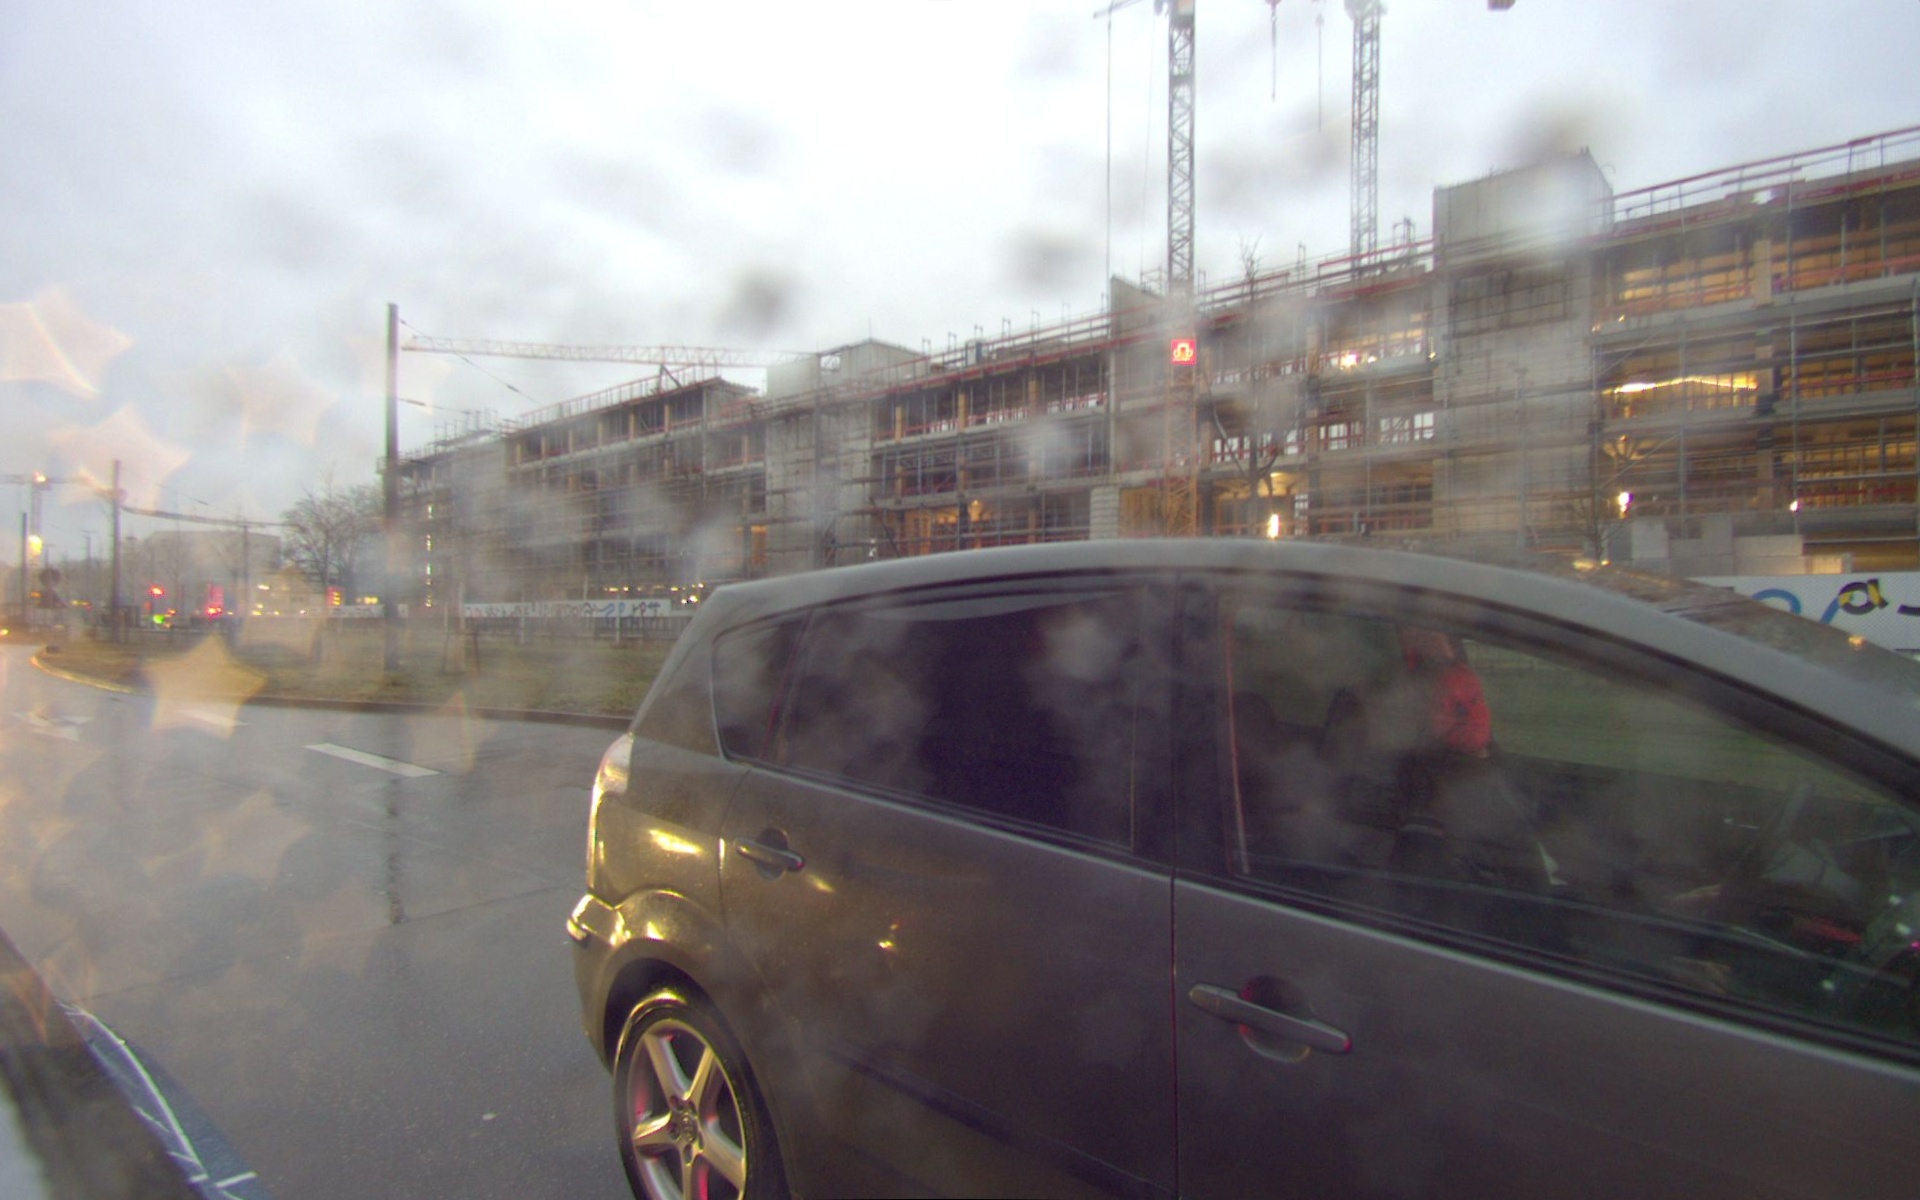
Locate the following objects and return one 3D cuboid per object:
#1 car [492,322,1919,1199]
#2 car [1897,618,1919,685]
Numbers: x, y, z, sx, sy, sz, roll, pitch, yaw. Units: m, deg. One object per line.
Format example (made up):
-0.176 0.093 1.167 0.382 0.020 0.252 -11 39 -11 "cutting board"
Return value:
0.996 0.600 1.895 4.131 1.659 1.793 -1 -1 39 "car"
23.786 1.216 22.868 1.603 1.489 3.706 -1 1 -41 "car"
